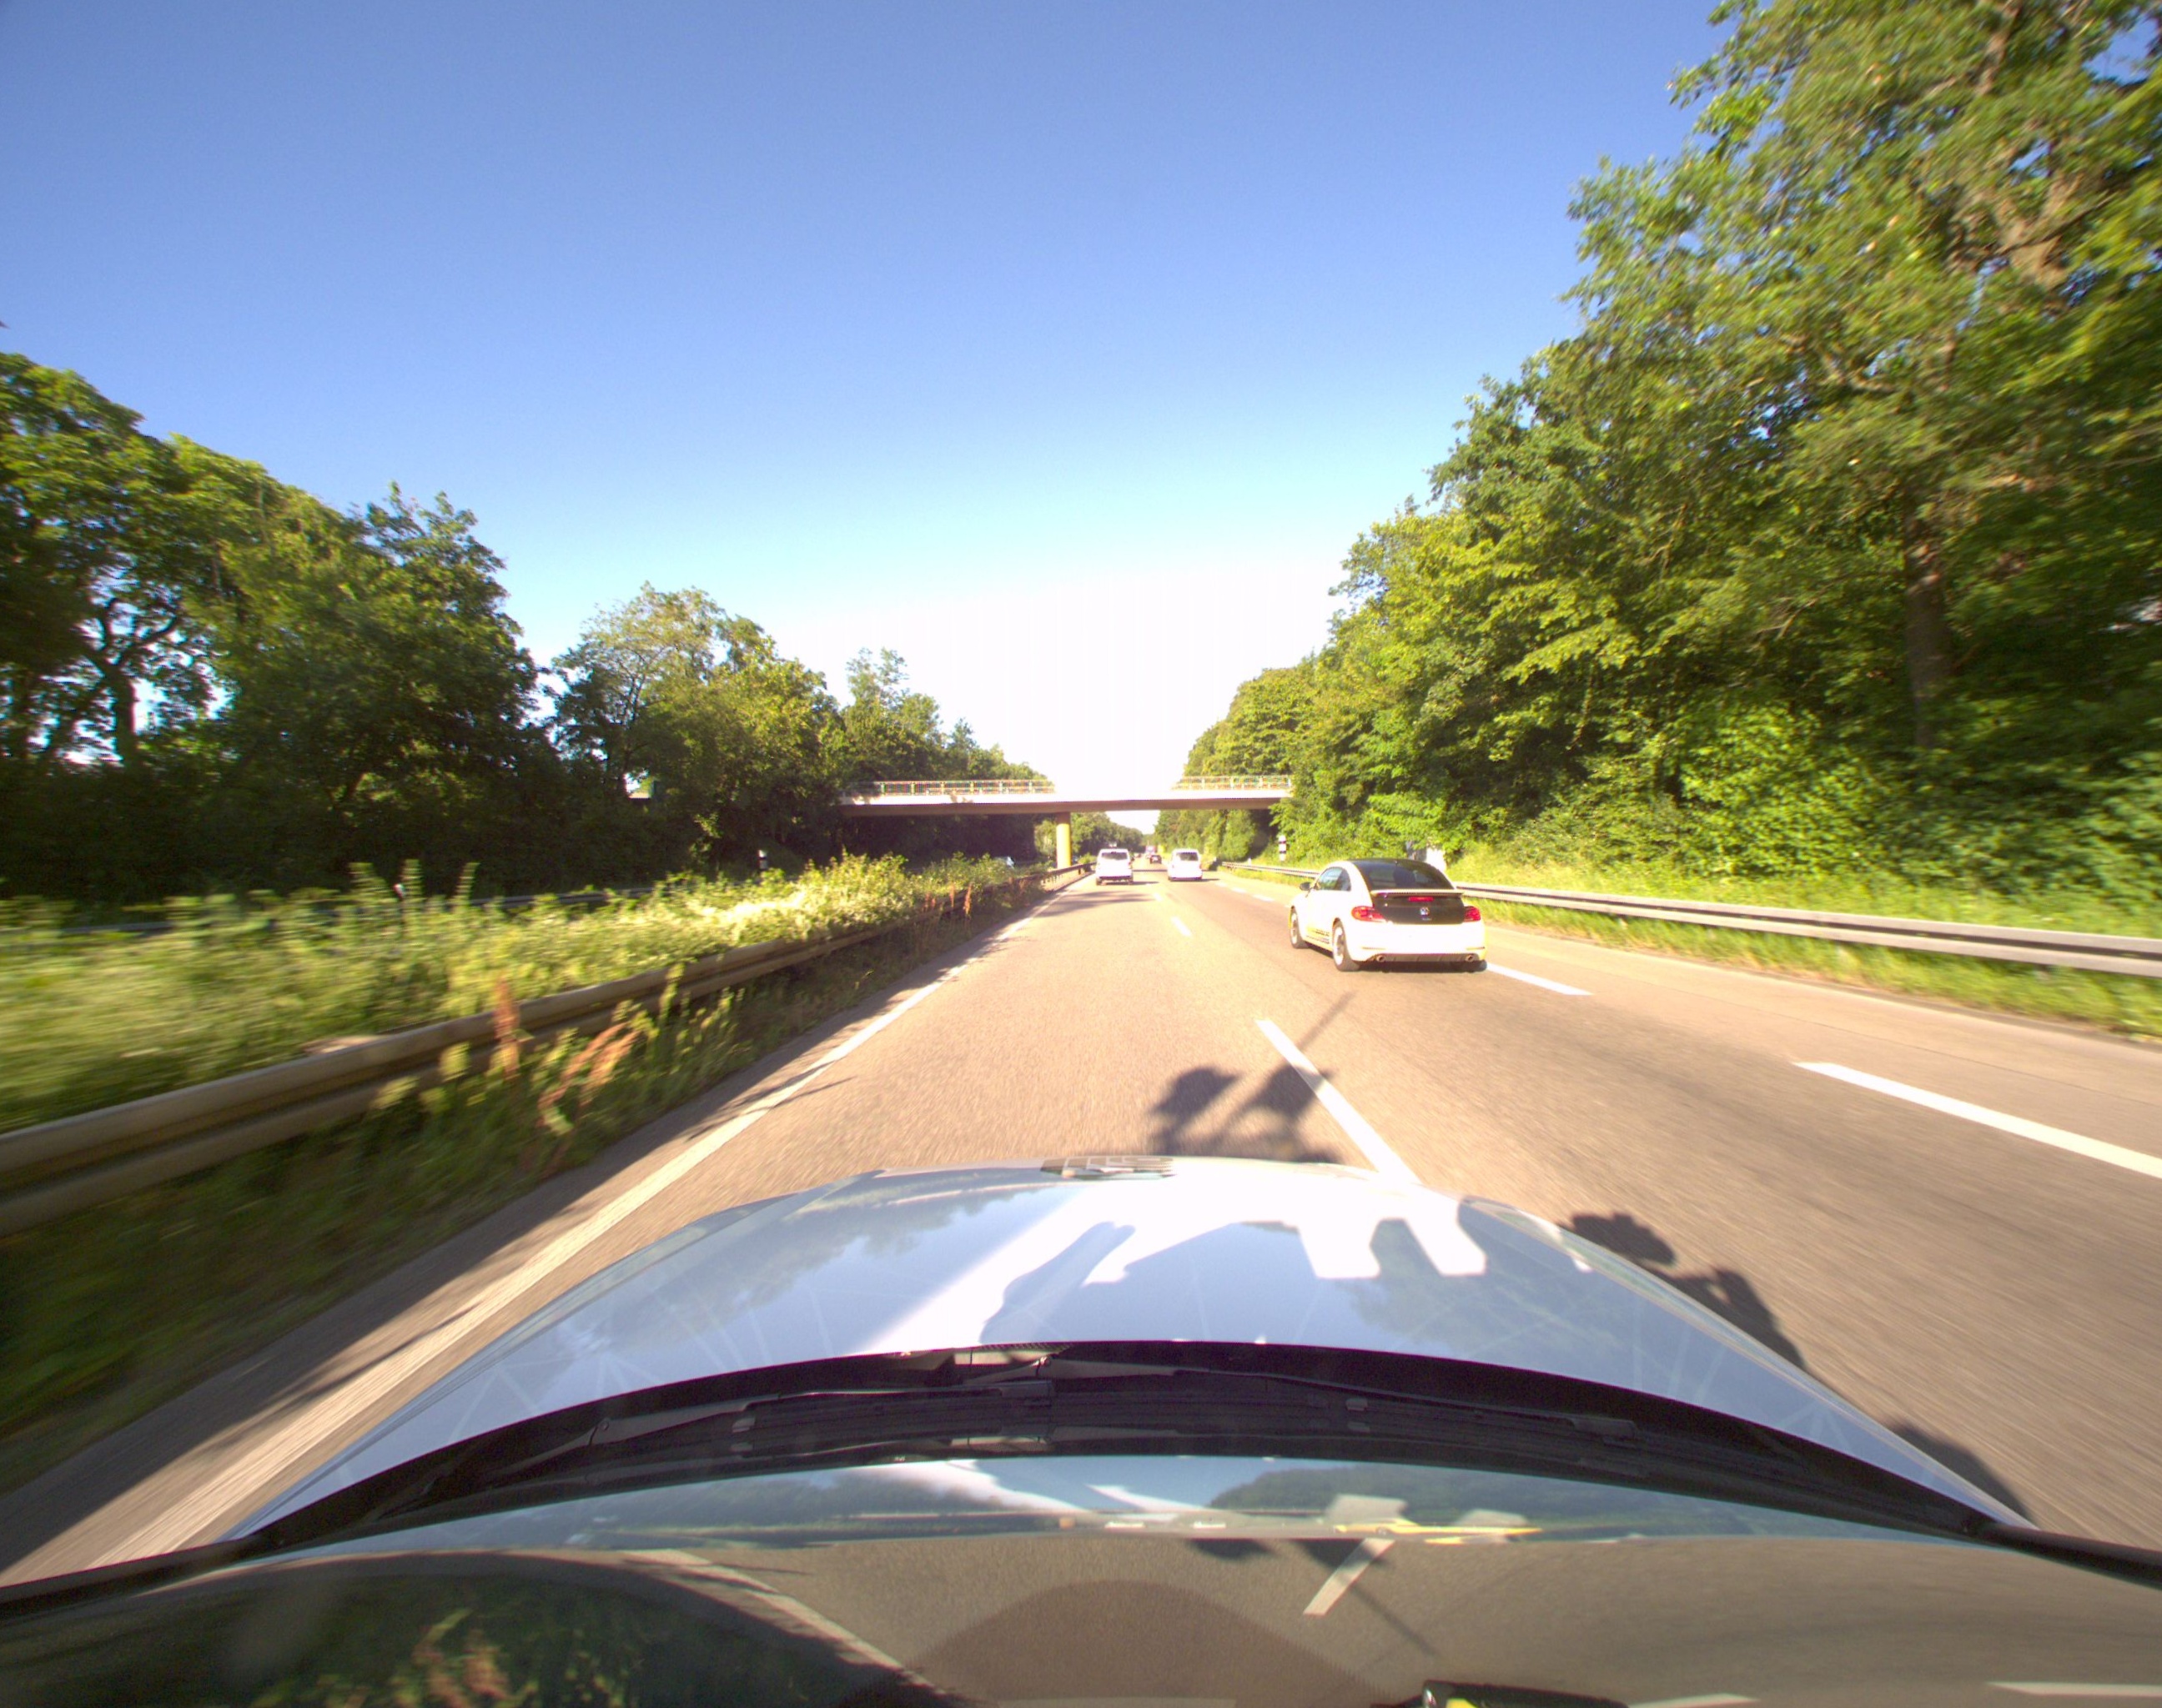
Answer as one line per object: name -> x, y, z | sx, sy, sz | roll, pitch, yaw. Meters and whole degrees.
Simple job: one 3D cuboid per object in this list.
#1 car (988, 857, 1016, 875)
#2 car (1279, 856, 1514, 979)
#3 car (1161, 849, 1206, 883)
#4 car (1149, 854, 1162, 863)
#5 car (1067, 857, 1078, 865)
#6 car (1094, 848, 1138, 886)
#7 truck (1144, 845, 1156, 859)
car -> -7.884, 1.208, 81.867 | 1.952, 1.659, 5.046 | -1, 0, 4
car -> 4.289, 0.760, 11.891 | 1.872, 1.461, 4.358 | 0, 0, 2
car -> 5.769, 0.650, 46.328 | 1.859, 1.770, 4.465 | -1, 0, -2
car -> 11.294, 0.673, 123.599 | 1.984, 1.398, 4.005 | -1, 0, 4
car -> -1.644, 1.405, 165.904 | 1.952, 1.450, 4.588 | 0, 0, 3
car -> 1.728, 0.627, 41.208 | 2.078, 1.828, 4.000 | 1, 0, 1
truck -> 20.923, -0.574, 247.001 | 3.480, 4.173, 8.872 | -1, 0, 4
